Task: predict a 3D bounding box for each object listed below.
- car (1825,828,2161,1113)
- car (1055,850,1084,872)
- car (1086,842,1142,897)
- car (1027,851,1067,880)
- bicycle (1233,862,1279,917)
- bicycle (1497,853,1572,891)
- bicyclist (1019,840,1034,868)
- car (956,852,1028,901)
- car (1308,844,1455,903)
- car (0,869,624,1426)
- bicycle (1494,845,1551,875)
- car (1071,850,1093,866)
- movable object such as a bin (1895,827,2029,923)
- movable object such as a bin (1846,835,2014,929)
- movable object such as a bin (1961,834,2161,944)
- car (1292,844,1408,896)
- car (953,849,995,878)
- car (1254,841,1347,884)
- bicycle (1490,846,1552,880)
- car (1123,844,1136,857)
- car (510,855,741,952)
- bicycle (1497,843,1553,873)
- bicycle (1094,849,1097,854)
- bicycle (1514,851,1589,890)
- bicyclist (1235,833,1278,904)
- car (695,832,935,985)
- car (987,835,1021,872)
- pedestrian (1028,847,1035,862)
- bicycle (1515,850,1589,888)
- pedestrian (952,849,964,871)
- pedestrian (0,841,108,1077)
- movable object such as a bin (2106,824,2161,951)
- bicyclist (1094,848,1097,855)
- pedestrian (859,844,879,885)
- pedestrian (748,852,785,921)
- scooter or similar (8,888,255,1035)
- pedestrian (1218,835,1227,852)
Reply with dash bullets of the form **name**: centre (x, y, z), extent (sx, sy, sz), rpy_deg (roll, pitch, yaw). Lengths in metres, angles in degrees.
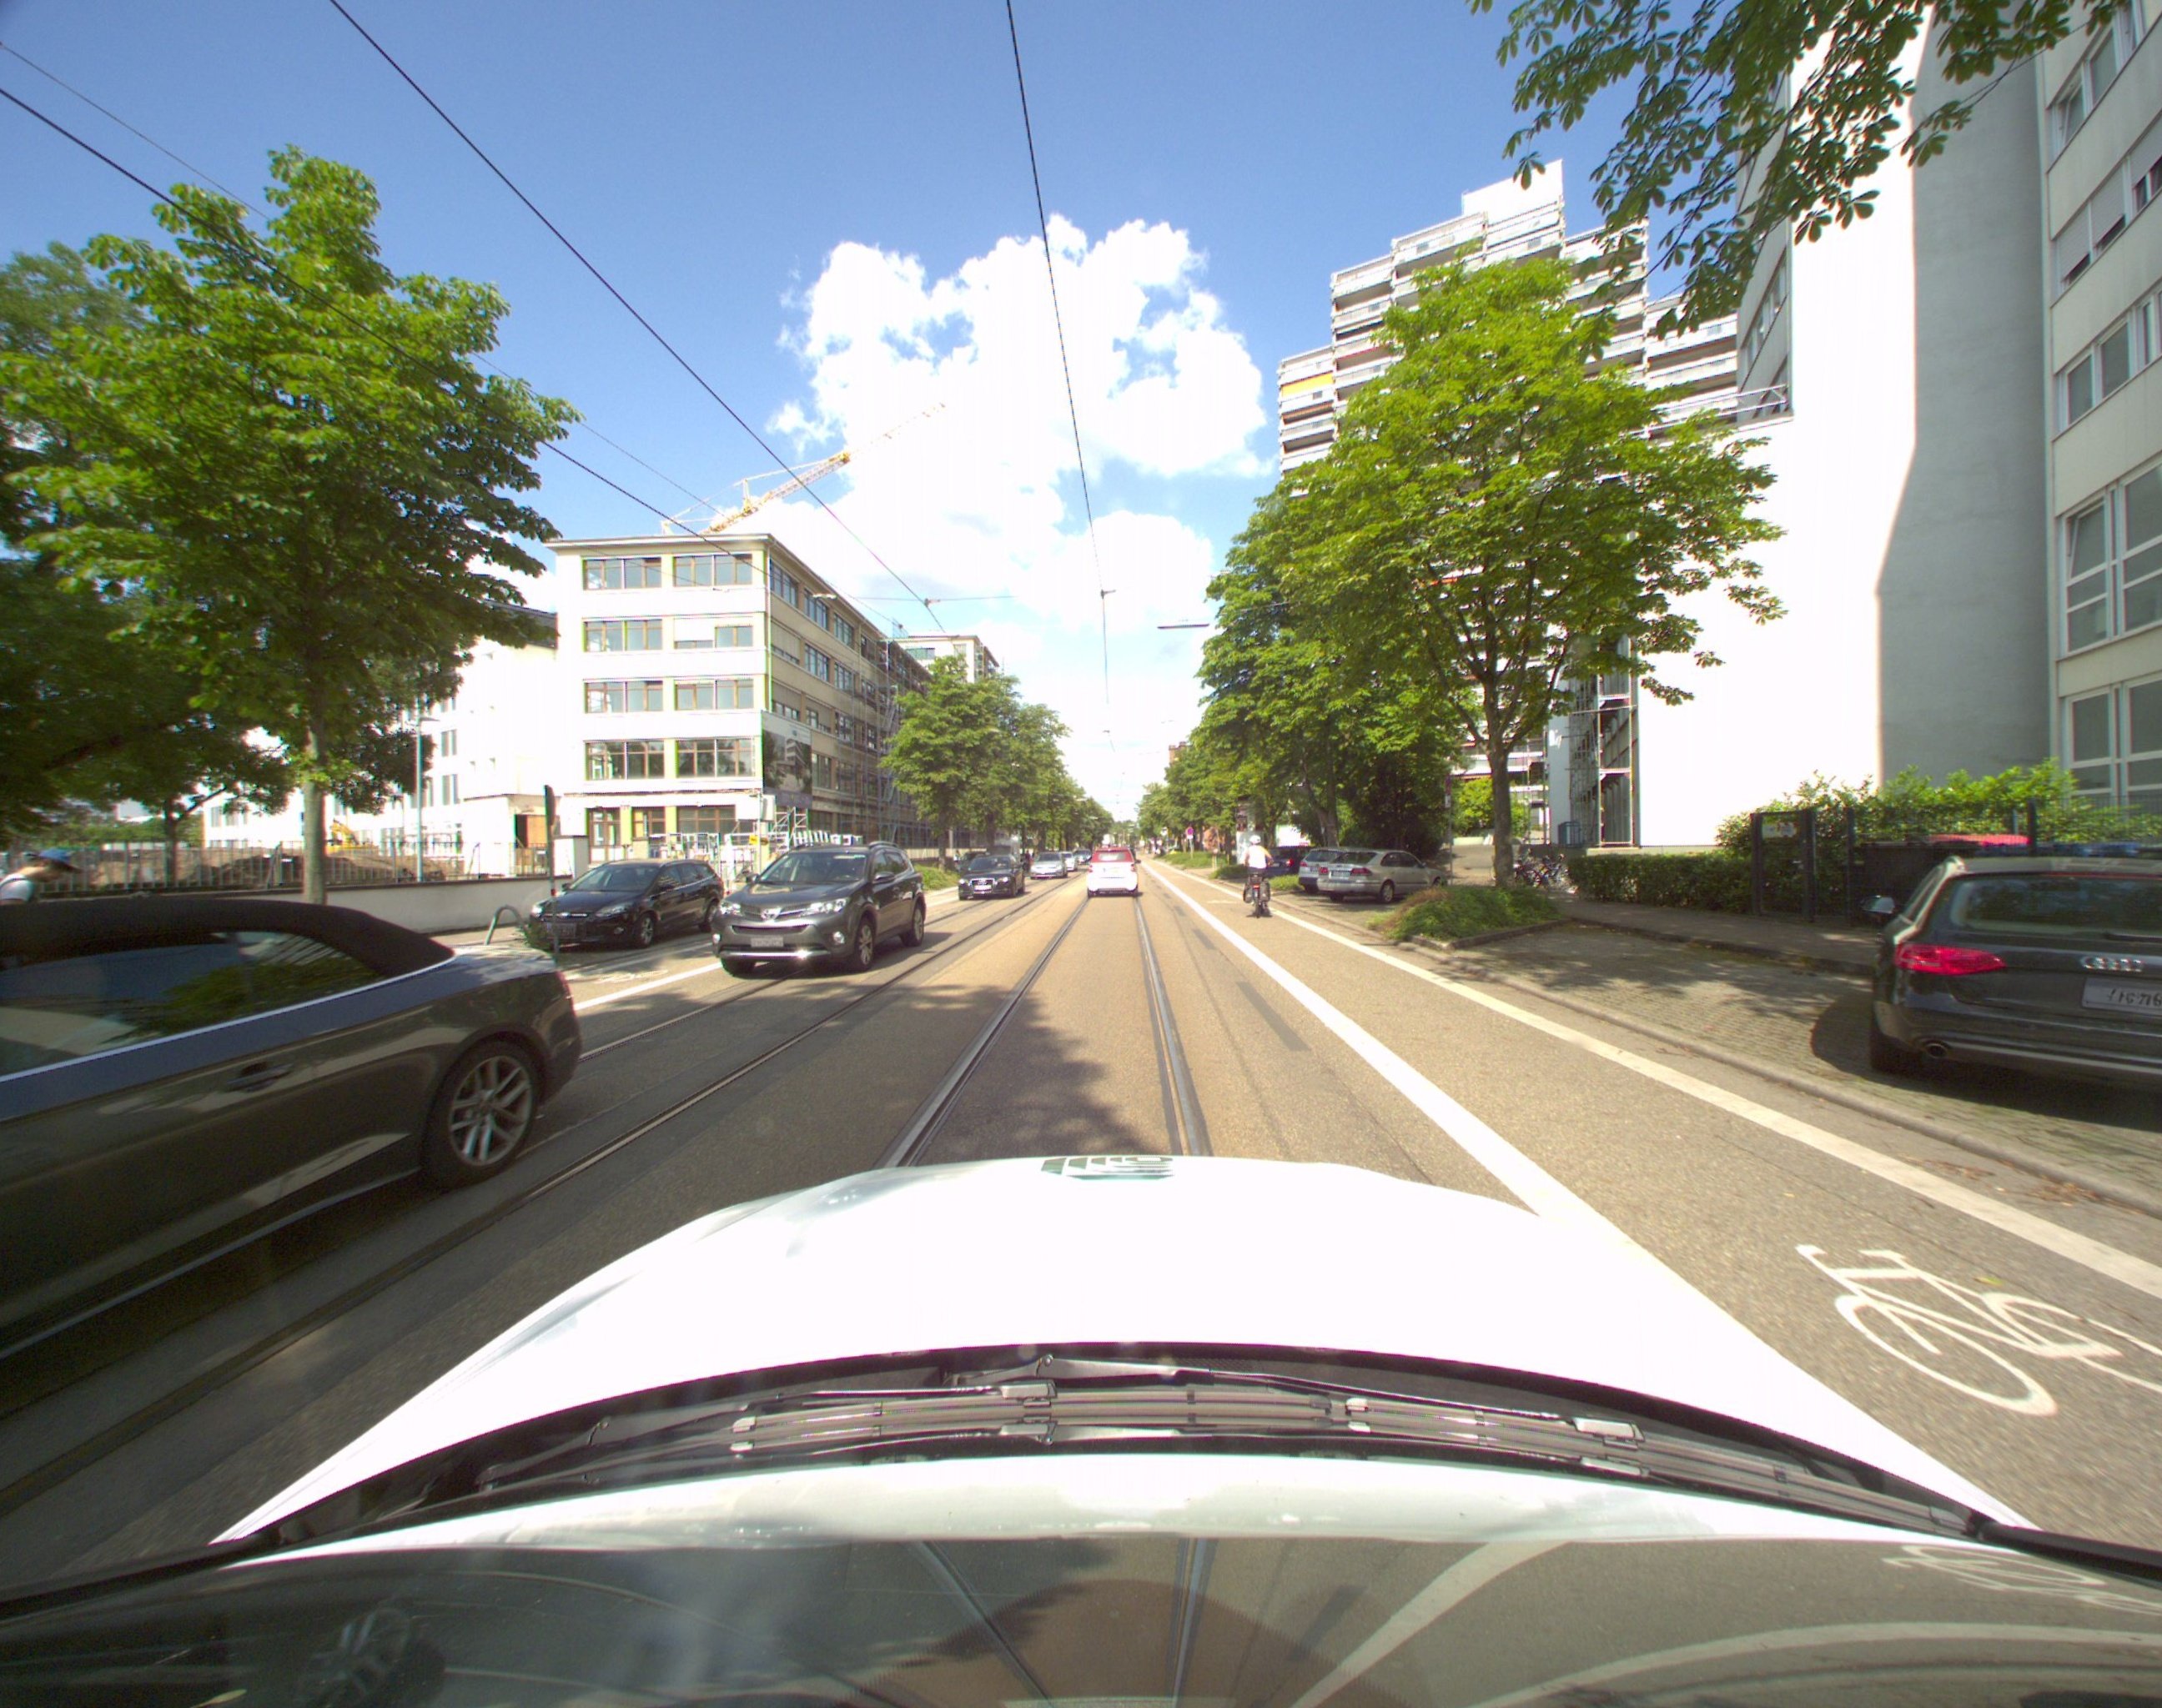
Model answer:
- **car**: centre (6.966, 0.604, 5.872), extent (4.561, 1.442, 2.007), rpy_deg (1, 0, -43)
- **car**: centre (-0.746, 0.482, 56.686), extent (1.679, 1.405, 4.230), rpy_deg (-2, 0, 3)
- **car**: centre (1.053, 0.477, 26.448), extent (1.659, 1.624, 3.622), rpy_deg (-1, 0, 2)
- **car**: centre (-1.787, 0.578, 43.997), extent (1.766, 1.416, 3.854), rpy_deg (-3, 0, 2)
- **bicycle**: centre (3.854, 0.746, 18.047), extent (0.870, 1.126, 2.141), rpy_deg (0, 0, 9)
- **bicycle**: centre (13.435, 0.544, 24.145), extent (1.877, 1.053, 0.454), rpy_deg (-2, 0, 34)
- **bicyclist**: centre (-4.104, -0.010, 61.311), extent (0.873, 2.014, 0.834), rpy_deg (-3, -1, 1)
- **car**: centre (-2.840, 0.675, 26.745), extent (1.716, 1.376, 4.002), rpy_deg (-4, 0, 2)
- **car**: centre (8.317, 0.457, 22.399), extent (4.261, 1.420, 1.705), rpy_deg (-1, 1, -35)
- **car**: centre (-3.726, 0.830, 2.640), extent (1.792, 1.388, 4.429), rpy_deg (-2, 0, 2)
- **bicycle**: centre (16.485, 0.239, 30.444), extent (1.809, 1.095, 0.454), rpy_deg (-1, 1, 34)
- **car**: centre (0.148, 0.420, 80.333), extent (1.792, 1.508, 4.542), rpy_deg (-1, 0, 5)
- **movable object such as a bin**: centre (14.345, 0.311, 13.317), extent (1.252, 1.480, 0.943), rpy_deg (0, 1, 30)
- **movable object such as a bin**: centre (12.748, 0.399, 12.287), extent (1.270, 1.336, 1.237), rpy_deg (1, 0, 1)
- **movable object such as a bin**: centre (12.837, 0.427, 10.619), extent (1.270, 1.336, 1.359), rpy_deg (0, 0, 1)
- **car**: centre (8.470, 0.441, 25.509), extent (3.824, 1.474, 1.634), rpy_deg (-1, 1, -39)
- **car**: centre (-6.443, 0.565, 49.273), extent (1.797, 1.662, 4.106), rpy_deg (0, 0, 3)
- **car**: centre (8.732, 0.320, 32.223), extent (4.023, 1.486, 1.596), rpy_deg (-3, 0, -43)
- **bicycle**: centre (15.334, 0.325, 28.396), extent (1.809, 1.095, 0.454), rpy_deg (-2, 3, 34)
- **car**: centre (6.158, -0.409, 104.159), extent (1.659, 1.624, 3.623), rpy_deg (0, 1, 2)
- **car**: centre (-8.201, 0.792, 15.249), extent (1.744, 1.516, 4.591), rpy_deg (0, 0, 0)
- **bicycle**: centre (17.137, 0.170, 31.451), extent (1.809, 1.096, 0.454), rpy_deg (-2, 1, 34)
- **bicycle**: centre (3.469, -0.606, 189.784), extent (0.616, 0.973, 1.717), rpy_deg (-1, 0, 0)
- **bicycle**: centre (14.029, 0.494, 24.327), extent (1.877, 1.096, 0.454), rpy_deg (-2, 0, 34)
- **bicyclist**: centre (3.884, 0.318, 18.123), extent (0.884, 1.528, 1.088), rpy_deg (0, 0, 9)
- **car**: centre (-3.500, 0.619, 11.701), extent (1.819, 1.727, 4.393), rpy_deg (-2, 0, 2)
- **car**: centre (-5.605, -0.029, 59.930), extent (1.762, 2.639, 5.326), rpy_deg (0, 0, 3)
- **pedestrian**: centre (-6.514, 0.037, 107.553), extent (0.802, 2.013, 0.484), rpy_deg (-1, 0, -6)
- **bicycle**: centre (14.308, 0.464, 24.746), extent (1.877, 1.096, 0.454), rpy_deg (-2, 0, 34)
- **pedestrian**: centre (-9.143, 0.416, 60.472), extent (0.761, 1.620, 0.594), rpy_deg (0, 0, 2)
- **pedestrian**: centre (-8.335, 0.786, 6.382), extent (0.743, 1.766, 0.795), rpy_deg (0, 0, 31)
- **movable object such as a bin**: centre (12.810, 0.392, 9.005), extent (1.273, 1.437, 1.350), rpy_deg (1, 1, -5)
- **bicyclist**: centre (3.459, -0.559, 189.696), extent (0.656, 1.579, 0.946), rpy_deg (-2, 1, 1)
- **pedestrian**: centre (-9.725, 0.473, 37.409), extent (0.705, 1.831, 0.661), rpy_deg (2, 1, -3)
- **pedestrian**: centre (-7.691, 0.772, 19.937), extent (0.730, 1.637, 0.685), rpy_deg (0, 0, -31)
- **scooter or similar**: centre (-8.961, 0.979, 7.742), extent (1.334, 1.279, 0.855), rpy_deg (0, 0, 1)
- **pedestrian**: centre (16.640, -1.208, 95.705), extent (0.973, 2.013, 1.094), rpy_deg (0, 0, 2)
